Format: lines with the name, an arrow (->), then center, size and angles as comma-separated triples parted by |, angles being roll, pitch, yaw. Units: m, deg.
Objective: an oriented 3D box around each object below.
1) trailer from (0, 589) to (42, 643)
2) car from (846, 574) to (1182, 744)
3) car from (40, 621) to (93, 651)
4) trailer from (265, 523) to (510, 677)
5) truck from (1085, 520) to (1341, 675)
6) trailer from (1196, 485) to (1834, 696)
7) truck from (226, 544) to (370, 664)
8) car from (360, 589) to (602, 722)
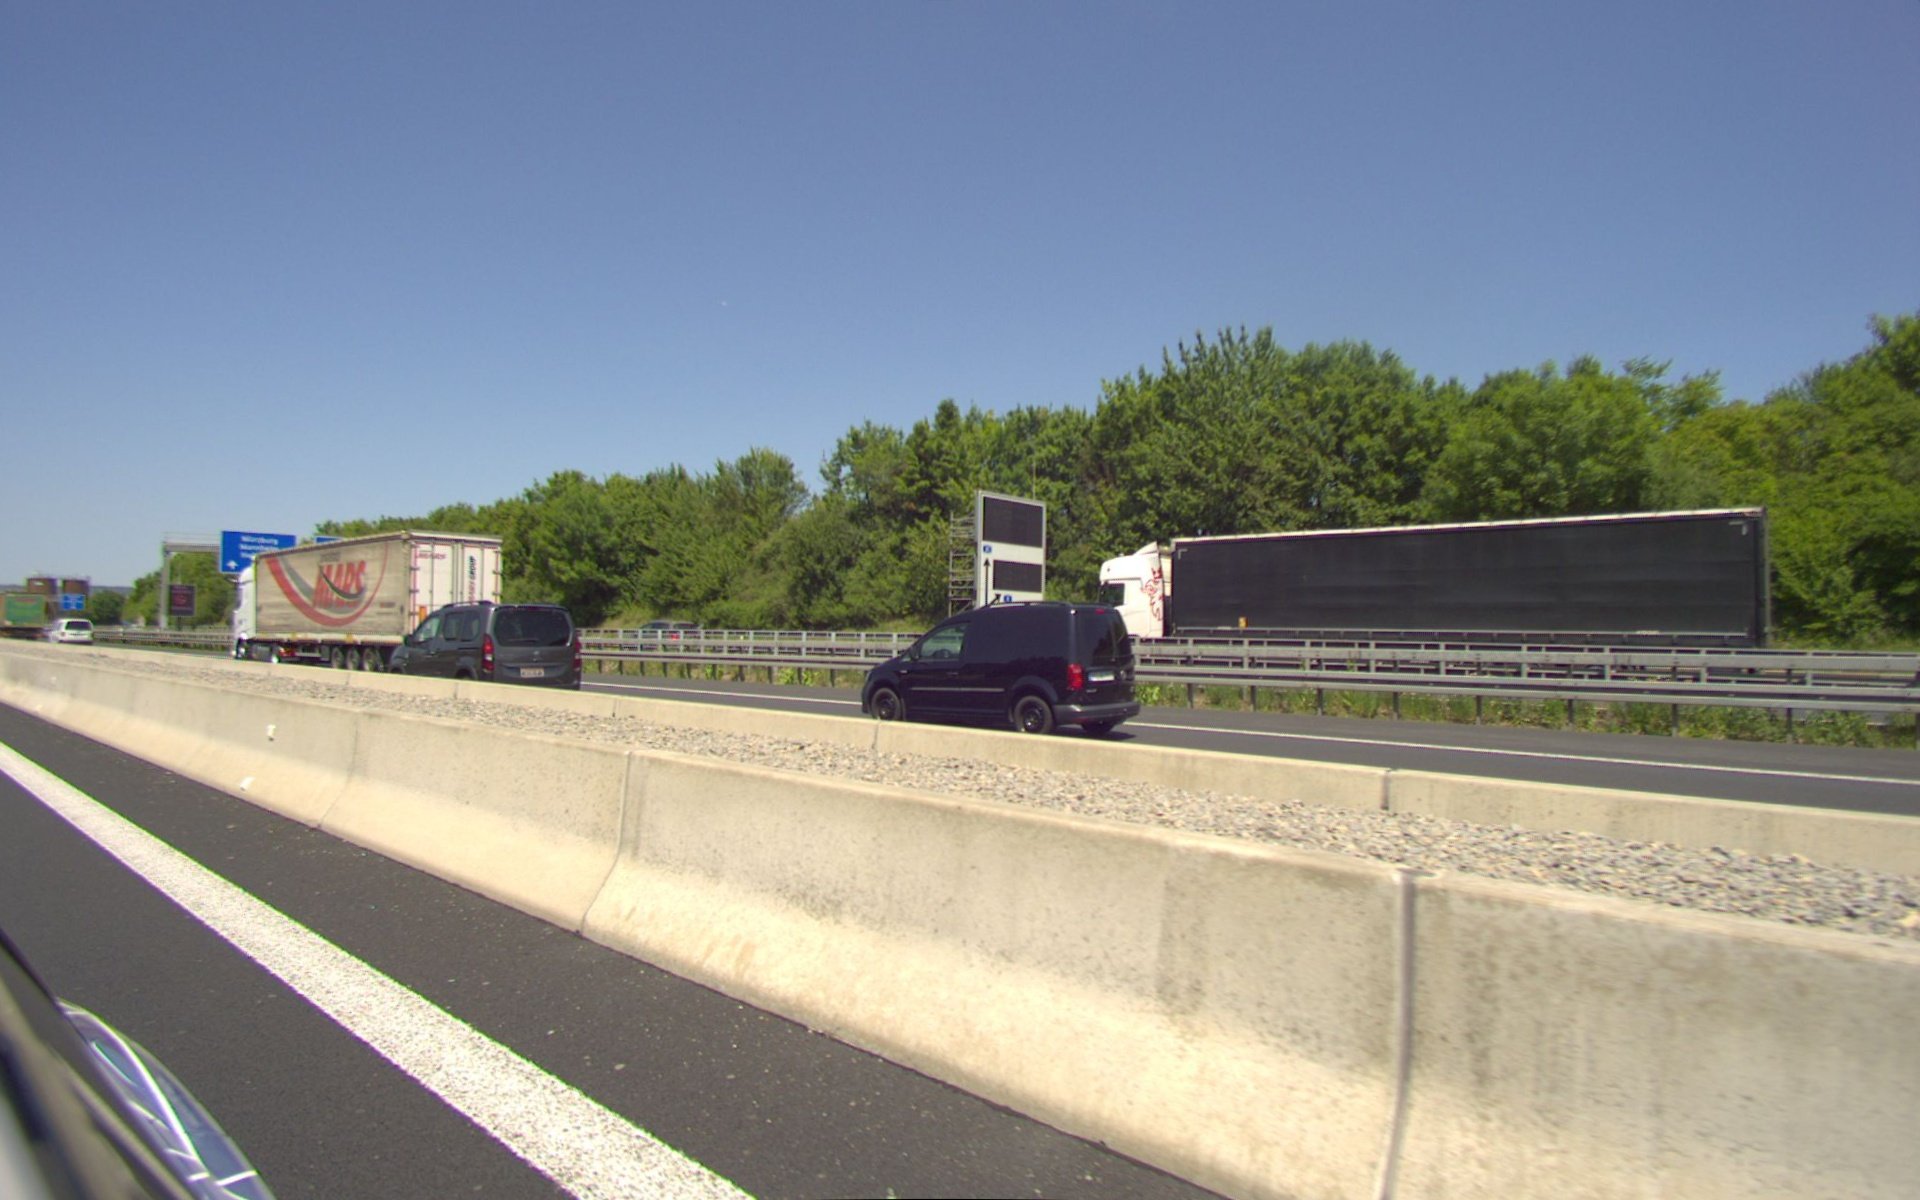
trailer -> -80.353, 1.340, 85.432 | 13.806, 4.305, 2.640 | -1, -1, 41
car -> 0.648, 0.728, 14.320 | 4.481, 2.029, 1.973 | -1, -1, 40
car -> -57.427, 2.278, 64.989 | 4.897, 1.840, 1.725 | -1, -1, 38
trailer -> -18.358, 0.065, 31.836 | 12.057, 4.076, 2.880 | -1, -1, 41
truck -> 7.351, -0.032, 29.948 | 6.636, 4.076, 3.186 | -1, -1, 41
trailer -> 12.772, -0.108, 25.203 | 13.530, 4.076, 3.186 | -1, -1, 41
truck -> -24.128, 0.170, 36.791 | 5.895, 4.003, 2.898 | -1, -1, 41
car -> -8.520, 0.870, 17.790 | 4.952, 2.029, 2.030 | -1, -1, 41
